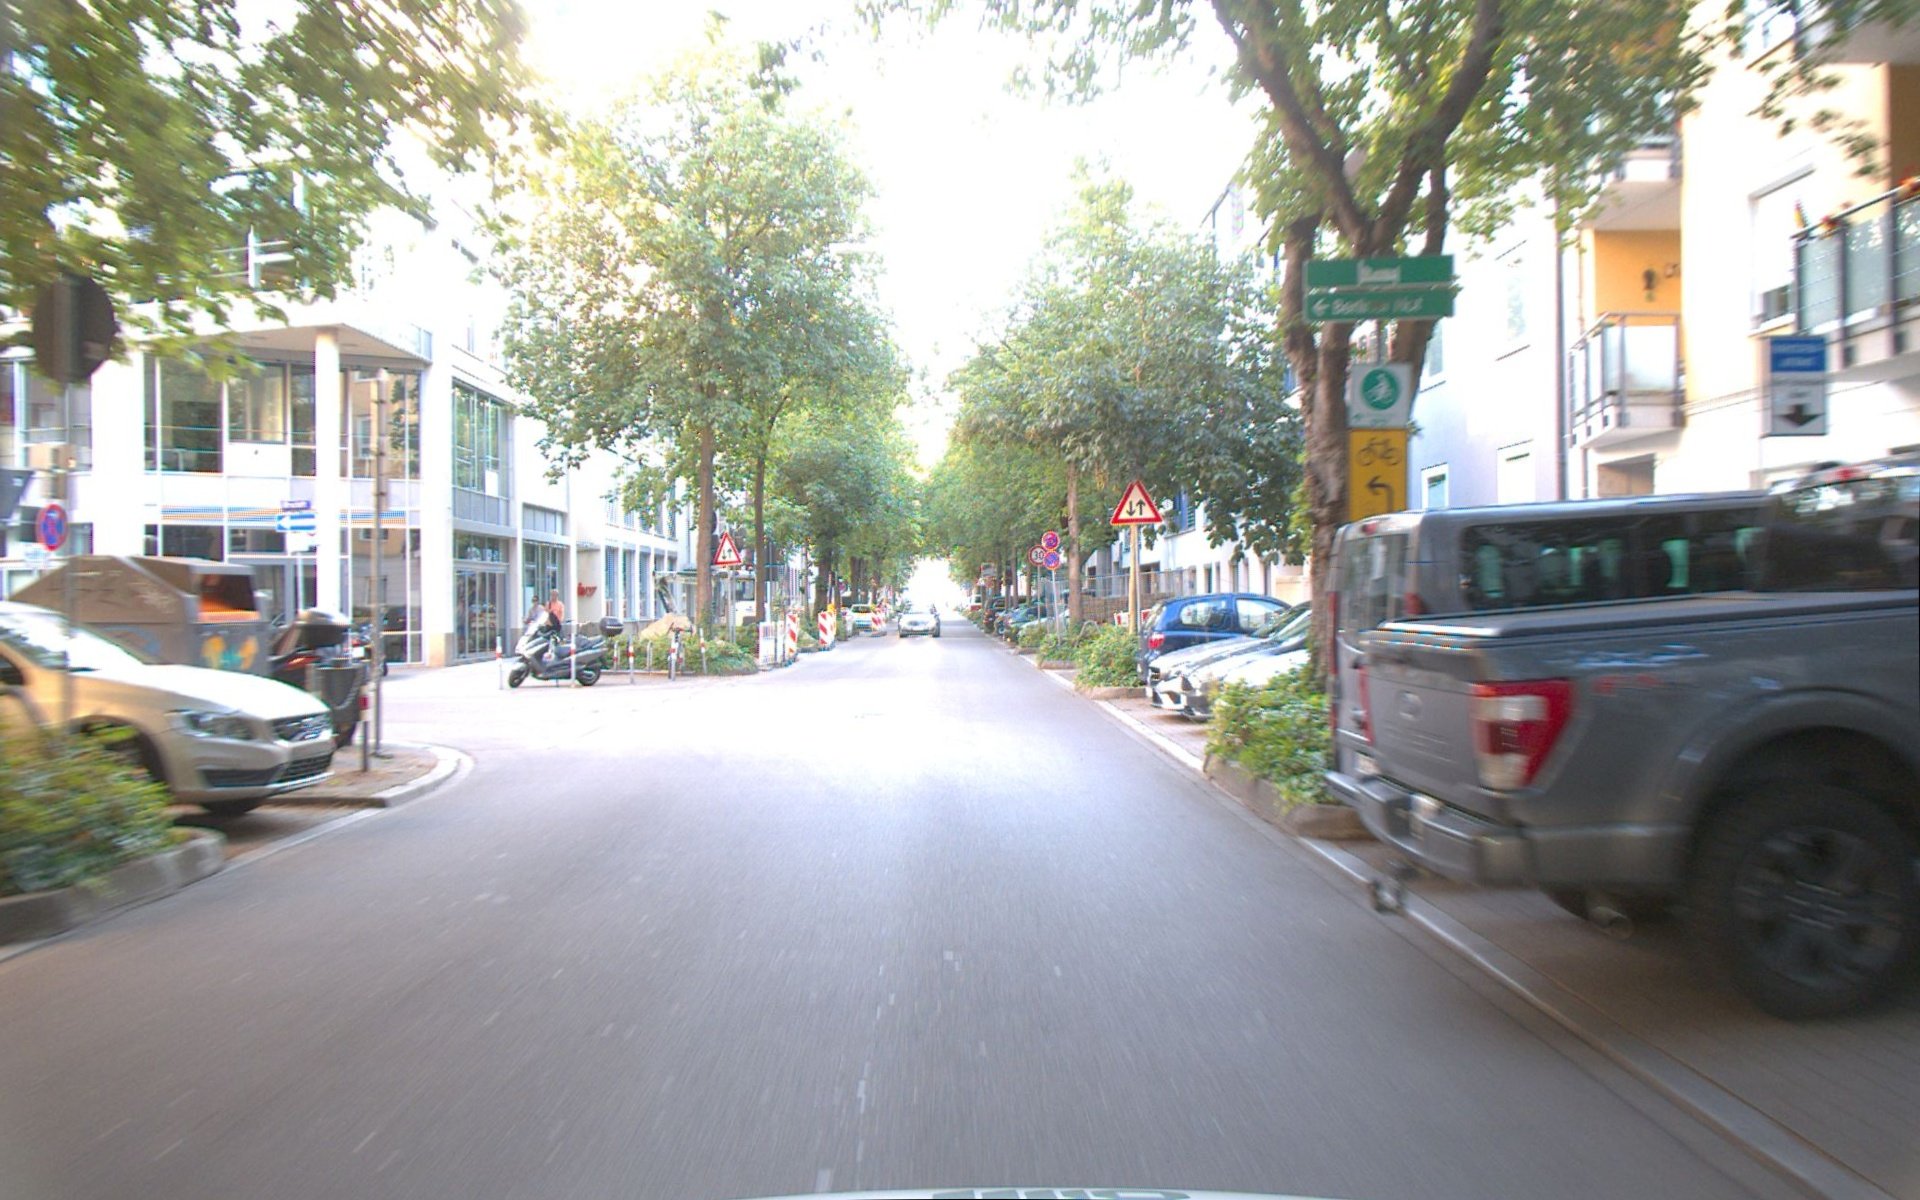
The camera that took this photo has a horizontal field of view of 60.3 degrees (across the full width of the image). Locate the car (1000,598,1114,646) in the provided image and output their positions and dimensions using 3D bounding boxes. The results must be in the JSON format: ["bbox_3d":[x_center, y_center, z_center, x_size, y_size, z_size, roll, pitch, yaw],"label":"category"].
[{"bbox_3d":[3.373,0.773,58.081,3.905,1.613,2.000,-1,0,1],"label":"car"}]

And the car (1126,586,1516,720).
[{"bbox_3d":[4.493,0.643,21.107,4.528,1.599,2.010,0,0,-1],"label":"car"}]

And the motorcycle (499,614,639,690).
[{"bbox_3d":[-7.309,0.945,30.951,2.336,1.304,1.052,-1,0,-41],"label":"motorcycle"}]

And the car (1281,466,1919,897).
[{"bbox_3d":[4.328,0.384,9.431,4.507,2.102,2.196,-1,0,-2],"label":"car"}]

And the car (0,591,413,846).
[{"bbox_3d":[-6.367,0.745,11.319,4.523,1.579,2.076,0,0,1],"label":"car"}]

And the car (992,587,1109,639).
[{"bbox_3d":[3.655,0.520,67.662,4.643,2.049,1.999,0,0,-2],"label":"car"}]

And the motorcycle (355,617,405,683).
[{"bbox_3d":[-11.383,0.960,32.496,0.546,1.192,2.302,-1,0,-10],"label":"motorcycle"}]

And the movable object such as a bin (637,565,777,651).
[{"bbox_3d":[-7.445,0.209,49.161,3.968,2.425,2.781,-1,0,-7],"label":"movable object such as a bin"}]

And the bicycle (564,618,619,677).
[{"bbox_3d":[-7.693,0.976,34.600,0.669,1.173,1.981,-1,0,0],"label":"bicycle"}]

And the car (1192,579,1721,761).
[{"bbox_3d":[4.696,0.640,16.114,4.529,1.529,1.960,-2,0,-3],"label":"car"}]

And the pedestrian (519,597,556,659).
[{"bbox_3d":[-10.792,0.712,42.273,0.754,1.562,0.642,-1,-1,-1],"label":"pedestrian"}]

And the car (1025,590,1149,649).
[{"bbox_3d":[4.098,0.625,53.515,3.903,1.836,2.001,-1,0,3],"label":"car"}]

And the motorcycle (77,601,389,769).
[{"bbox_3d":[-6.513,0.744,14.910,2.402,1.445,0.911,-1,0,1],"label":"motorcycle"}]

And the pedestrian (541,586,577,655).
[{"bbox_3d":[-10.157,0.517,41.901,0.724,1.720,0.607,-1,-1,0],"label":"pedestrian"}]

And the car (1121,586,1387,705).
[{"bbox_3d":[4.156,0.630,23.762,3.467,1.591,1.831,-1,0,-1],"label":"car"}]

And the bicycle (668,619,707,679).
[{"bbox_3d":[-5.700,1.007,34.655,0.670,1.173,1.978,-1,0,-6],"label":"bicycle"}]

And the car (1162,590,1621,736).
[{"bbox_3d":[4.745,0.678,18.716,4.684,1.547,1.991,0,0,0],"label":"car"}]

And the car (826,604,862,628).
[{"bbox_3d":[-6.598,0.879,93.906,1.955,1.311,3.996,-1,0,-5],"label":"car"}]

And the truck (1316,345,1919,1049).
[{"bbox_3d":[4.569,0.302,6.693,5.767,2.351,2.212,-1,0,0],"label":"truck"}]

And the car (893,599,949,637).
[{"bbox_3d":[-1.781,0.807,76.162,1.967,1.641,4.123,-1,0,7],"label":"car"}]

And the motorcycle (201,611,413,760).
[{"bbox_3d":[-6.714,0.845,16.981,2.205,1.445,0.850,-1,-1,30],"label":"motorcycle"}]
